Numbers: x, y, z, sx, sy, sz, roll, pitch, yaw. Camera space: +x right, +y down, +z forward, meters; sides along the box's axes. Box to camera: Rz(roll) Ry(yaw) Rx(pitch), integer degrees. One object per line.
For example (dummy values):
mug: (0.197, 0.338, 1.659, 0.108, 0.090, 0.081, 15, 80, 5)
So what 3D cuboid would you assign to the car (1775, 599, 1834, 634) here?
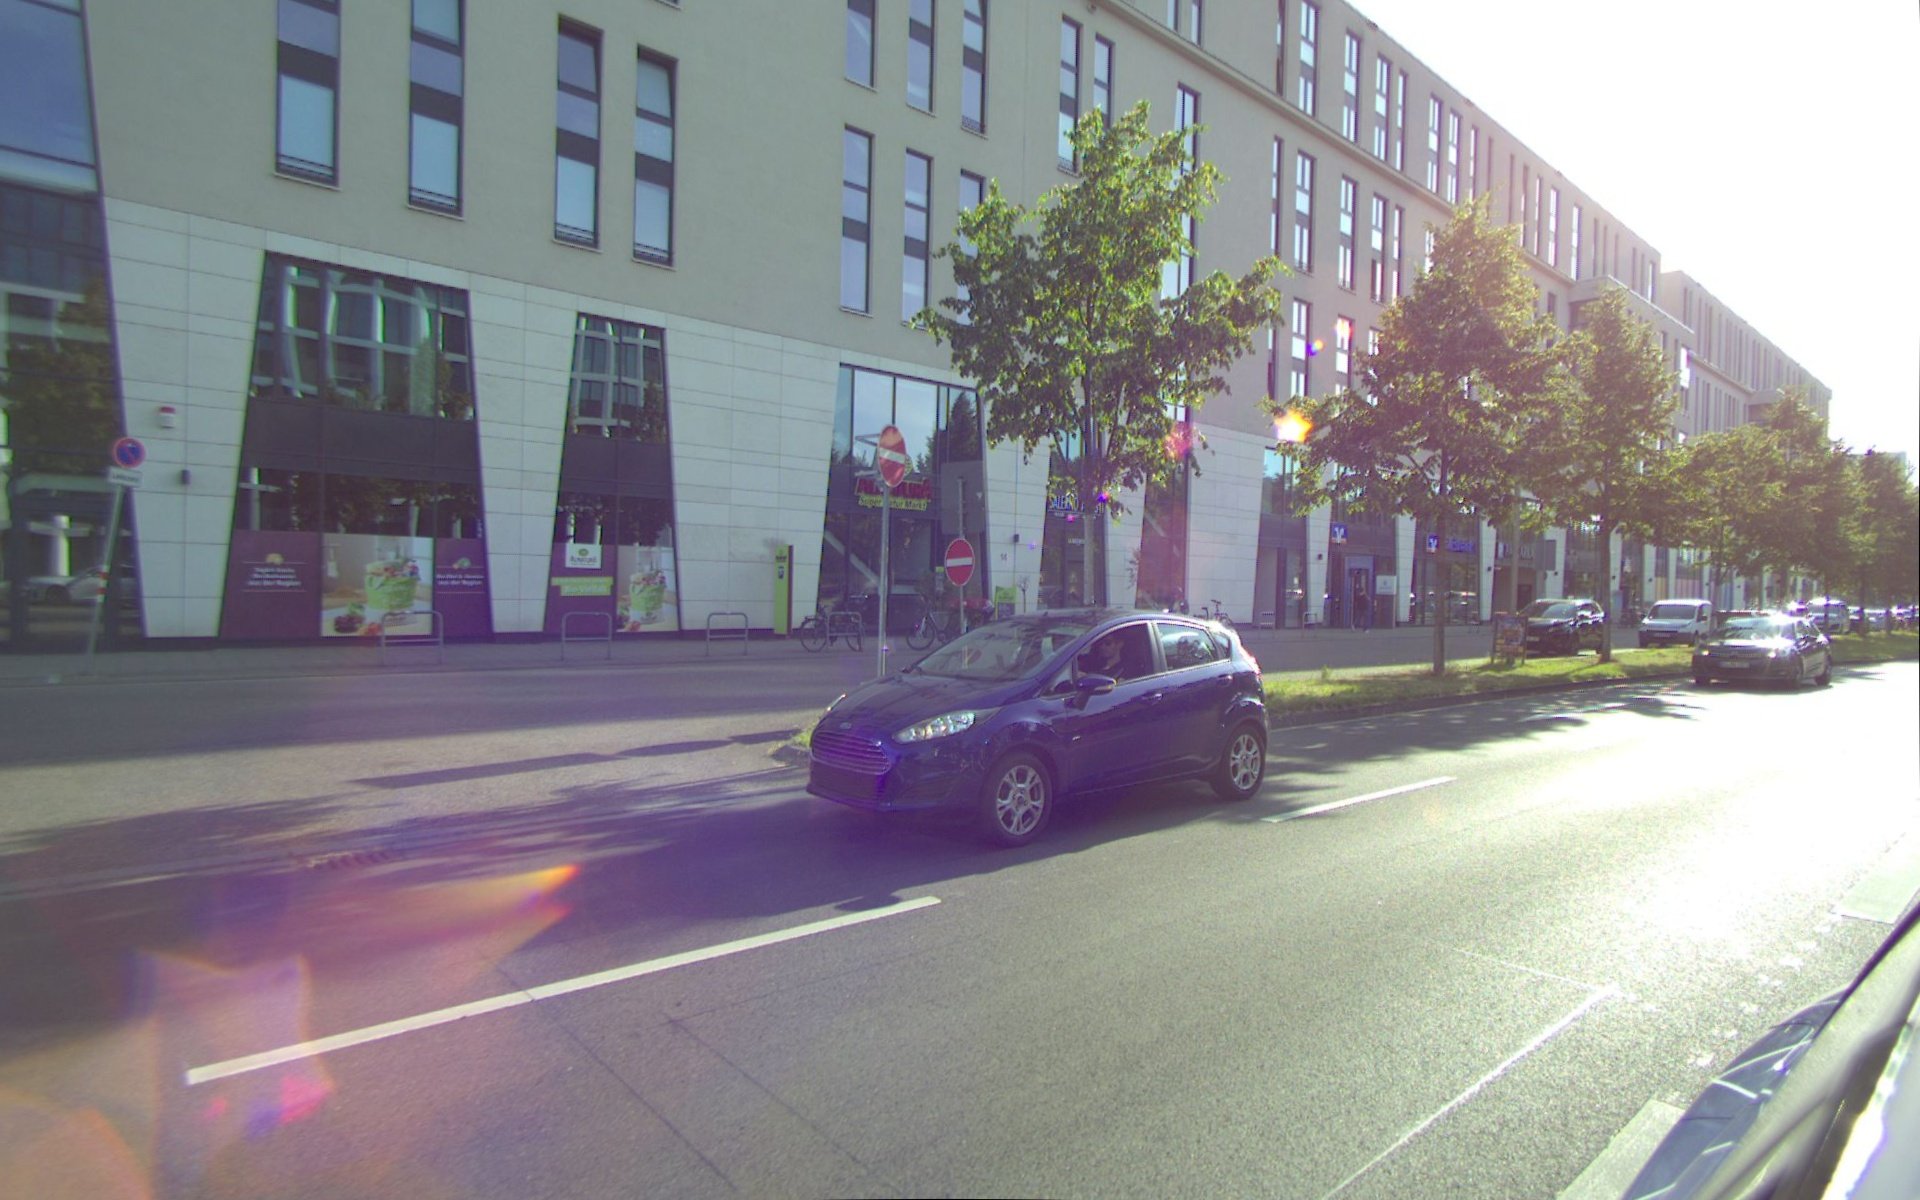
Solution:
car: (42.904, 0.791, 51.390, 4.769, 1.650, 1.732, 0, 1, -43)

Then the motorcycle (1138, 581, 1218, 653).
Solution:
motorcycle: (5.340, 0.401, 24.741, 1.975, 1.636, 0.703, 0, 4, -38)

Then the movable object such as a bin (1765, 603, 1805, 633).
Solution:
movable object such as a bin: (37.920, 0.817, 46.507, 1.172, 1.318, 1.278, 0, 0, -44)

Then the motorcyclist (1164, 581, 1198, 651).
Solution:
motorcyclist: (5.408, 0.395, 24.746, 0.410, 1.660, 0.625, 1, 2, -39)

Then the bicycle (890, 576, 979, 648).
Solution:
bicycle: (-0.568, 0.247, 23.191, 2.173, 1.587, 0.556, -1, 0, -40)

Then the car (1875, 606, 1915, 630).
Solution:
car: (60.425, 1.140, 65.369, 4.098, 1.430, 1.617, 0, 0, -43)

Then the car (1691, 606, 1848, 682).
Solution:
car: (17.266, 0.869, 21.533, 3.965, 1.442, 1.699, 0, 0, -37)

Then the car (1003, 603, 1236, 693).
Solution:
car: (2.664, 0.698, 16.424, 3.838, 1.258, 1.710, 0, 0, -42)

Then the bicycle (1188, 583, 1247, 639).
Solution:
bicycle: (7.802, 0.321, 30.597, 2.173, 1.639, 0.556, -1, 0, -40)

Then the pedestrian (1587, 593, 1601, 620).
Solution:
pedestrian: (37.077, 0.373, 59.184, 0.587, 1.541, 0.514, 0, -1, -41)

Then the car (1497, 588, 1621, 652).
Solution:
car: (17.654, 0.582, 29.746, 4.597, 1.730, 1.899, 1, -1, -42)

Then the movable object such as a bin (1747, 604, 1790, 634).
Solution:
movable object such as a bin: (34.979, 0.824, 43.785, 1.172, 1.252, 1.278, 0, 0, -44)

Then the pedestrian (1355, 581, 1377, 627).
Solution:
pedestrian: (15.822, 0.164, 39.462, 0.635, 1.785, 0.538, 0, -1, -40)

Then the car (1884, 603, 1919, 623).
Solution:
car: (71.740, 0.969, 76.995, 4.043, 1.450, 1.731, 0, 0, -42)

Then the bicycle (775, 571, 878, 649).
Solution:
bicycle: (-2.818, 0.183, 21.582, 2.236, 1.590, 0.556, -1, 0, -40)

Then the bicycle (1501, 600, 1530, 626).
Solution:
bicycle: (25.159, 0.600, 45.850, 1.911, 1.130, 0.493, 0, 2, -41)

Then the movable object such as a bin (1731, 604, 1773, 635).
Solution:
movable object such as a bin: (33.828, 0.811, 43.236, 1.159, 1.308, 1.278, 0, 0, -44)

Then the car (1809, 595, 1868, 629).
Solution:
car: (50.253, 0.645, 57.869, 4.943, 1.900, 1.841, 0, 0, -40)

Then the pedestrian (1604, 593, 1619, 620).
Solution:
pedestrian: (37.652, 0.367, 58.501, 0.528, 1.594, 0.516, 0, -1, -21)

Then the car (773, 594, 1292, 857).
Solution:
car: (0.708, 0.706, 7.421, 3.839, 1.442, 1.562, 1, -1, -41)

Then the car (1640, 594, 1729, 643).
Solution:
car: (26.937, 0.639, 37.600, 4.222, 1.733, 1.829, 0, 0, -42)

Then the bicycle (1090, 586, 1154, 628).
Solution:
bicycle: (4.458, 0.179, 27.756, 1.871, 1.097, 0.634, 0, 1, -40)

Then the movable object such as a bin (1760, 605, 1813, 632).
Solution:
movable object such as a bin: (38.887, 0.853, 47.609, 1.307, 1.252, 1.405, 0, 0, -13)
